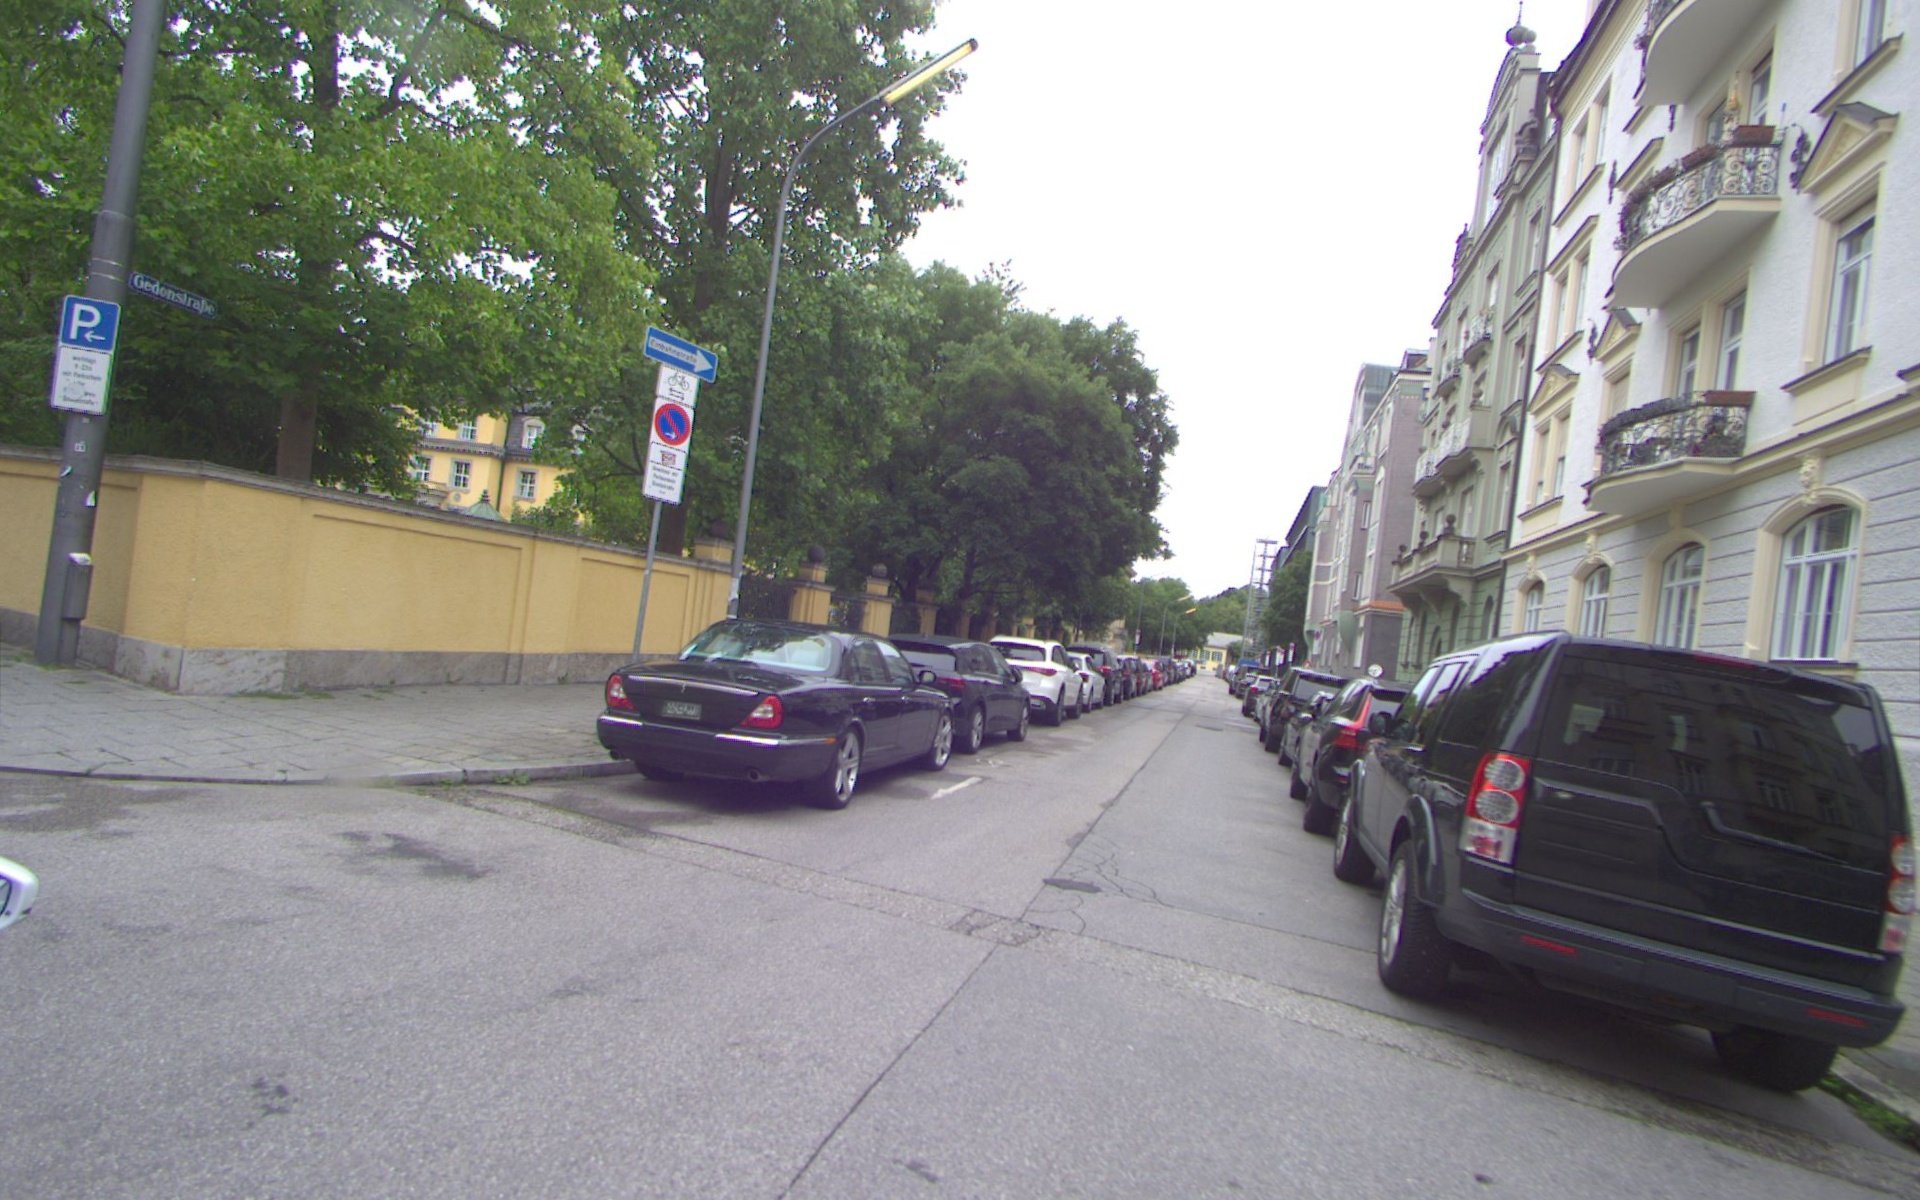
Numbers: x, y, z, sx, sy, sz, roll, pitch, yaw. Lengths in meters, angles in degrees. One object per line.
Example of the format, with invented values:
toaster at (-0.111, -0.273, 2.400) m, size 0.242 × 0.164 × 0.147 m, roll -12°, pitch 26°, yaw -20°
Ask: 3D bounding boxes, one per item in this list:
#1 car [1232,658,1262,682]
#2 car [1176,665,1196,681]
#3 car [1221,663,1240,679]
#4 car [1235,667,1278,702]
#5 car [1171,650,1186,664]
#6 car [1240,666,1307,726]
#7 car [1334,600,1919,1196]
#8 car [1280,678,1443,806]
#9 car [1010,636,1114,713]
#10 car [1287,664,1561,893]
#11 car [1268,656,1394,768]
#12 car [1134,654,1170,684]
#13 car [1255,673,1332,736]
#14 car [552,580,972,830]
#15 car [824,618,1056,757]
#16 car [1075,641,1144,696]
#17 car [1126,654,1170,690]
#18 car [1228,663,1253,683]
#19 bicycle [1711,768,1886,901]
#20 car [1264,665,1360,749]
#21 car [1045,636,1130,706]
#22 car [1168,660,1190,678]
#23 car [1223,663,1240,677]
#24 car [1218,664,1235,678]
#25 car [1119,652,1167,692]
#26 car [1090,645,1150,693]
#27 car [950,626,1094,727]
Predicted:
car at (23.054, 5.616, 80.873) m, size 1.962 × 1.640 × 4.613 m, roll 6°, pitch -2°, yaw 14°
car at (26.337, 8.502, 117.144) m, size 1.962 × 1.640 × 4.613 m, roll 6°, pitch -2°, yaw 14°
car at (32.469, 8.457, 120.716) m, size 1.962 × 1.640 × 4.613 m, roll 6°, pitch -2°, yaw 14°
car at (16.587, 4.682, 56.425) m, size 1.962 × 1.640 × 4.613 m, roll 6°, pitch -2°, yaw 14°
car at (33.376, 8.737, 153.501) m, size 1.875 × 1.890 × 4.613 m, roll 6°, pitch -2°, yaw 14°
car at (11.180, 3.374, 36.036) m, size 1.927 × 1.669 × 4.253 m, roll 9°, pitch 0°, yaw 16°
car at (3.582, 1.238, 6.115) m, size 1.868 × 1.973 × 4.547 m, roll 9°, pitch 0°, yaw 16°
car at (6.490, 2.215, 16.720) m, size 1.927 × 1.458 × 4.115 m, roll 9°, pitch 0°, yaw 16°
car at (2.811, 1.938, 26.694) m, size 1.962 × 1.640 × 4.613 m, roll 6°, pitch -2°, yaw 14°
car at (4.776, 1.696, 11.044) m, size 1.927 × 1.669 × 4.253 m, roll 9°, pitch 0°, yaw 17°
car at (7.556, 2.205, 20.894) m, size 1.927 × 1.774 × 4.253 m, roll 9°, pitch 0°, yaw 16°
car at (12.661, 4.520, 66.099) m, size 1.962 × 1.640 × 4.613 m, roll 6°, pitch -2°, yaw 14°
car at (10.191, 3.159, 31.023) m, size 1.927 × 1.423 × 4.253 m, roll 9°, pitch -1°, yaw 16°
car at (-1.394, 0.850, 9.386) m, size 1.830 × 1.499 × 4.934 m, roll 6°, pitch -2°, yaw 13°
car at (-0.067, 1.220, 14.688) m, size 1.886 × 1.499 × 4.612 m, roll 6°, pitch -2°, yaw 18°
car at (5.581, 2.500, 37.064) m, size 1.962 × 1.640 × 4.613 m, roll 6°, pitch -2°, yaw 14°
car at (10.470, 3.964, 55.738) m, size 1.962 × 1.640 × 4.613 m, roll 6°, pitch -2°, yaw 14°
car at (27.354, 7.085, 98.247) m, size 1.962 × 1.640 × 4.613 m, roll 6°, pitch -2°, yaw 14°
bicycle at (9.817, 2.693, 11.906) m, size 0.528 × 1.118 × 2.416 m, roll 7°, pitch -2°, yaw 15°
car at (9.132, 2.706, 26.388) m, size 1.927 × 1.669 × 4.253 m, roll 9°, pitch 0°, yaw 16°
car at (4.038, 2.181, 31.233) m, size 1.972 × 1.798 × 4.388 m, roll 6°, pitch -2°, yaw 14°
car at (22.461, 7.063, 103.209) m, size 1.962 × 1.640 × 4.613 m, roll 6°, pitch -2°, yaw 14°
car at (36.193, 9.338, 134.143) m, size 1.962 × 1.640 × 4.613 m, roll 7°, pitch -2°, yaw 14°
car at (36.868, 9.754, 139.191) m, size 1.962 × 1.640 × 4.613 m, roll 7°, pitch -2°, yaw 14°
car at (9.218, 3.587, 50.457) m, size 1.962 × 1.640 × 4.613 m, roll 6°, pitch -2°, yaw 14°
car at (6.677, 2.827, 41.614) m, size 1.962 × 1.640 × 4.613 m, roll 6°, pitch -2°, yaw 14°
car at (1.428, 1.550, 20.855) m, size 1.962 × 1.640 × 4.613 m, roll 6°, pitch -2°, yaw 15°
